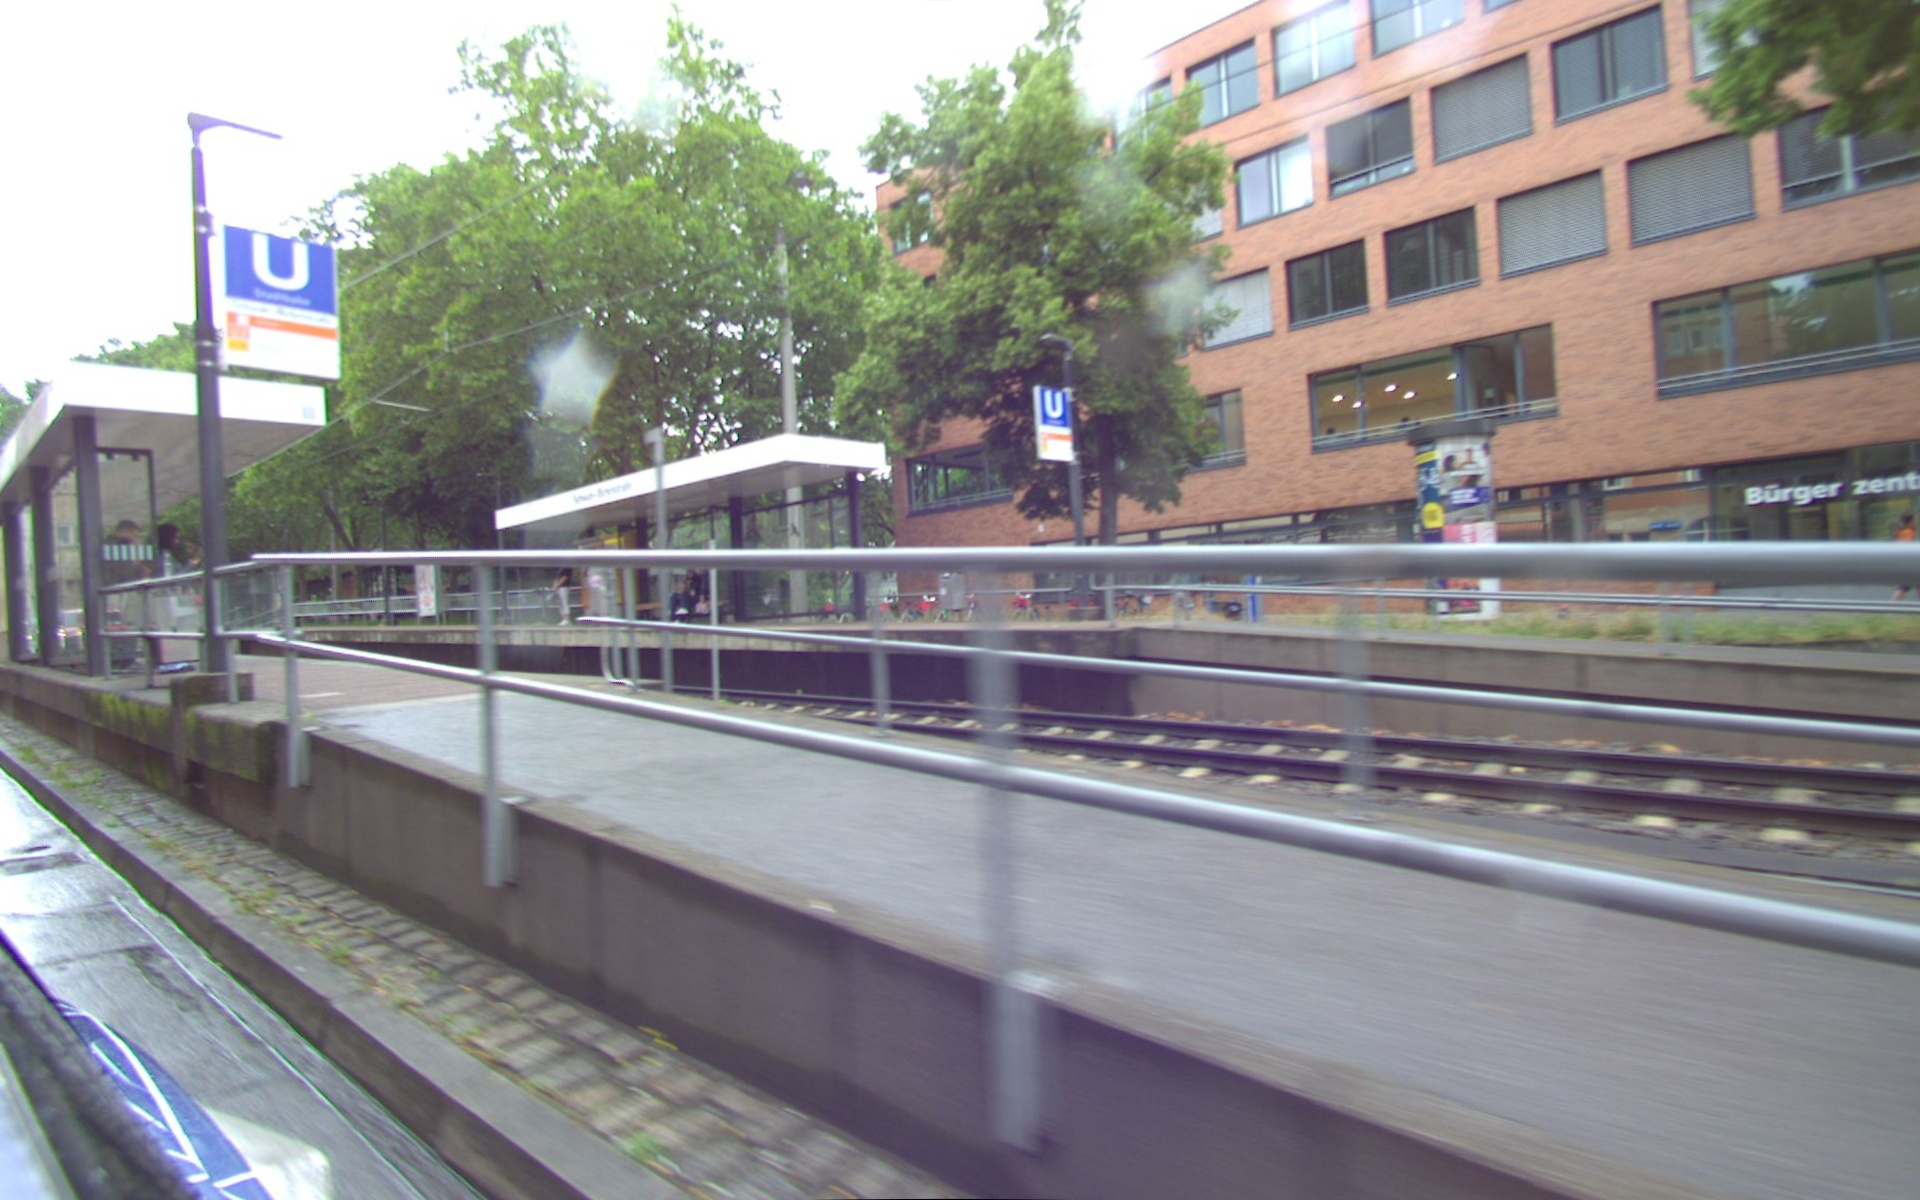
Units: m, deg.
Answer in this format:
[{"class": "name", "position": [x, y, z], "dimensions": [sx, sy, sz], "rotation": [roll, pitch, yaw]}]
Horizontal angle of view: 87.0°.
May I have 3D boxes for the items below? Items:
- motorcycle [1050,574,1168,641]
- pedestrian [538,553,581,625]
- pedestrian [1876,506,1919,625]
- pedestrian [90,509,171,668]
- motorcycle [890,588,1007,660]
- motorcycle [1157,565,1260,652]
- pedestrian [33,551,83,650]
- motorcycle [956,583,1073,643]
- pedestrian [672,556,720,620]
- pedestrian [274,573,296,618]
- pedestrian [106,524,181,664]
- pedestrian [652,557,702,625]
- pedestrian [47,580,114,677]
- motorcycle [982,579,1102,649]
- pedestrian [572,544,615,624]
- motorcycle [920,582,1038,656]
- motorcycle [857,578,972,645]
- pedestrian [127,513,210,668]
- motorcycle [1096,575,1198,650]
[{"class": "motorcycle", "position": [3.746, 0.147, 25.052], "dimensions": [1.005, 1.499, 3.825], "rotation": [-2, 1, 40]}, {"class": "pedestrian", "position": [-9.369, -0.259, 23.678], "dimensions": [0.563, 1.653, 0.679], "rotation": [-3, 0, 40]}, {"class": "pedestrian", "position": [16.634, -0.593, 17.539], "dimensions": [0.978, 2.029, 0.727], "rotation": [-2, 0, 34]}, {"class": "pedestrian", "position": [-9.217, -0.125, 11.246], "dimensions": [0.606, 1.700, 0.587], "rotation": [-2, 0, -45]}, {"class": "motorcycle", "position": [-0.261, 0.622, 28.608], "dimensions": [1.005, 1.829, 3.825], "rotation": [-2, 1, 40]}, {"class": "motorcycle", "position": [5.649, 0.145, 22.809], "dimensions": [0.993, 1.829, 3.006], "rotation": [-2, 1, 40]}, {"class": "pedestrian", "position": [-15.054, 0.009, 16.894], "dimensions": [0.489, 1.617, 0.638], "rotation": [-1, 0, -32]}, {"class": "motorcycle", "position": [1.515, 0.307, 27.037], "dimensions": [1.005, 1.417, 3.825], "rotation": [-2, 1, 40]}, {"class": "pedestrian", "position": [-5.377, -0.245, 20.582], "dimensions": [0.563, 1.249, 0.696], "rotation": [-3, 0, 40]}, {"class": "pedestrian", "position": [-25.611, -0.175, 38.406], "dimensions": [0.555, 1.653, 0.689], "rotation": [-3, 0, -42]}, {"class": "pedestrian", "position": [-9.587, -0.074, 11.882], "dimensions": [0.606, 1.593, 0.507], "rotation": [-2, 0, -45]}, {"class": "pedestrian", "position": [-5.859, -0.188, 20.969], "dimensions": [0.563, 1.373, 0.769], "rotation": [-3, 0, 40]}, {"class": "pedestrian", "position": [-11.679, 0.369, 13.441], "dimensions": [0.606, 1.236, 0.507], "rotation": [-2, 0, -45]}, {"class": "motorcycle", "position": [2.168, 0.306, 25.966], "dimensions": [1.005, 1.617, 3.825], "rotation": [-2, 1, 40]}, {"class": "pedestrian", "position": [-8.220, -0.356, 22.687], "dimensions": [0.705, 1.728, 0.557], "rotation": [-3, 0, 40]}, {"class": "motorcycle", "position": [0.590, 0.481, 27.841], "dimensions": [1.005, 1.829, 3.825], "rotation": [-2, 1, 40]}, {"class": "motorcycle", "position": [-1.274, 0.299, 29.622], "dimensions": [1.005, 1.787, 3.825], "rotation": [-2, 1, 40]}, {"class": "pedestrian", "position": [-8.475, -0.101, 10.834], "dimensions": [0.606, 1.593, 0.507], "rotation": [-2, 0, -45]}, {"class": "motorcycle", "position": [4.524, 0.265, 24.213], "dimensions": [1.005, 1.640, 3.027], "rotation": [-2, 1, 40]}]
